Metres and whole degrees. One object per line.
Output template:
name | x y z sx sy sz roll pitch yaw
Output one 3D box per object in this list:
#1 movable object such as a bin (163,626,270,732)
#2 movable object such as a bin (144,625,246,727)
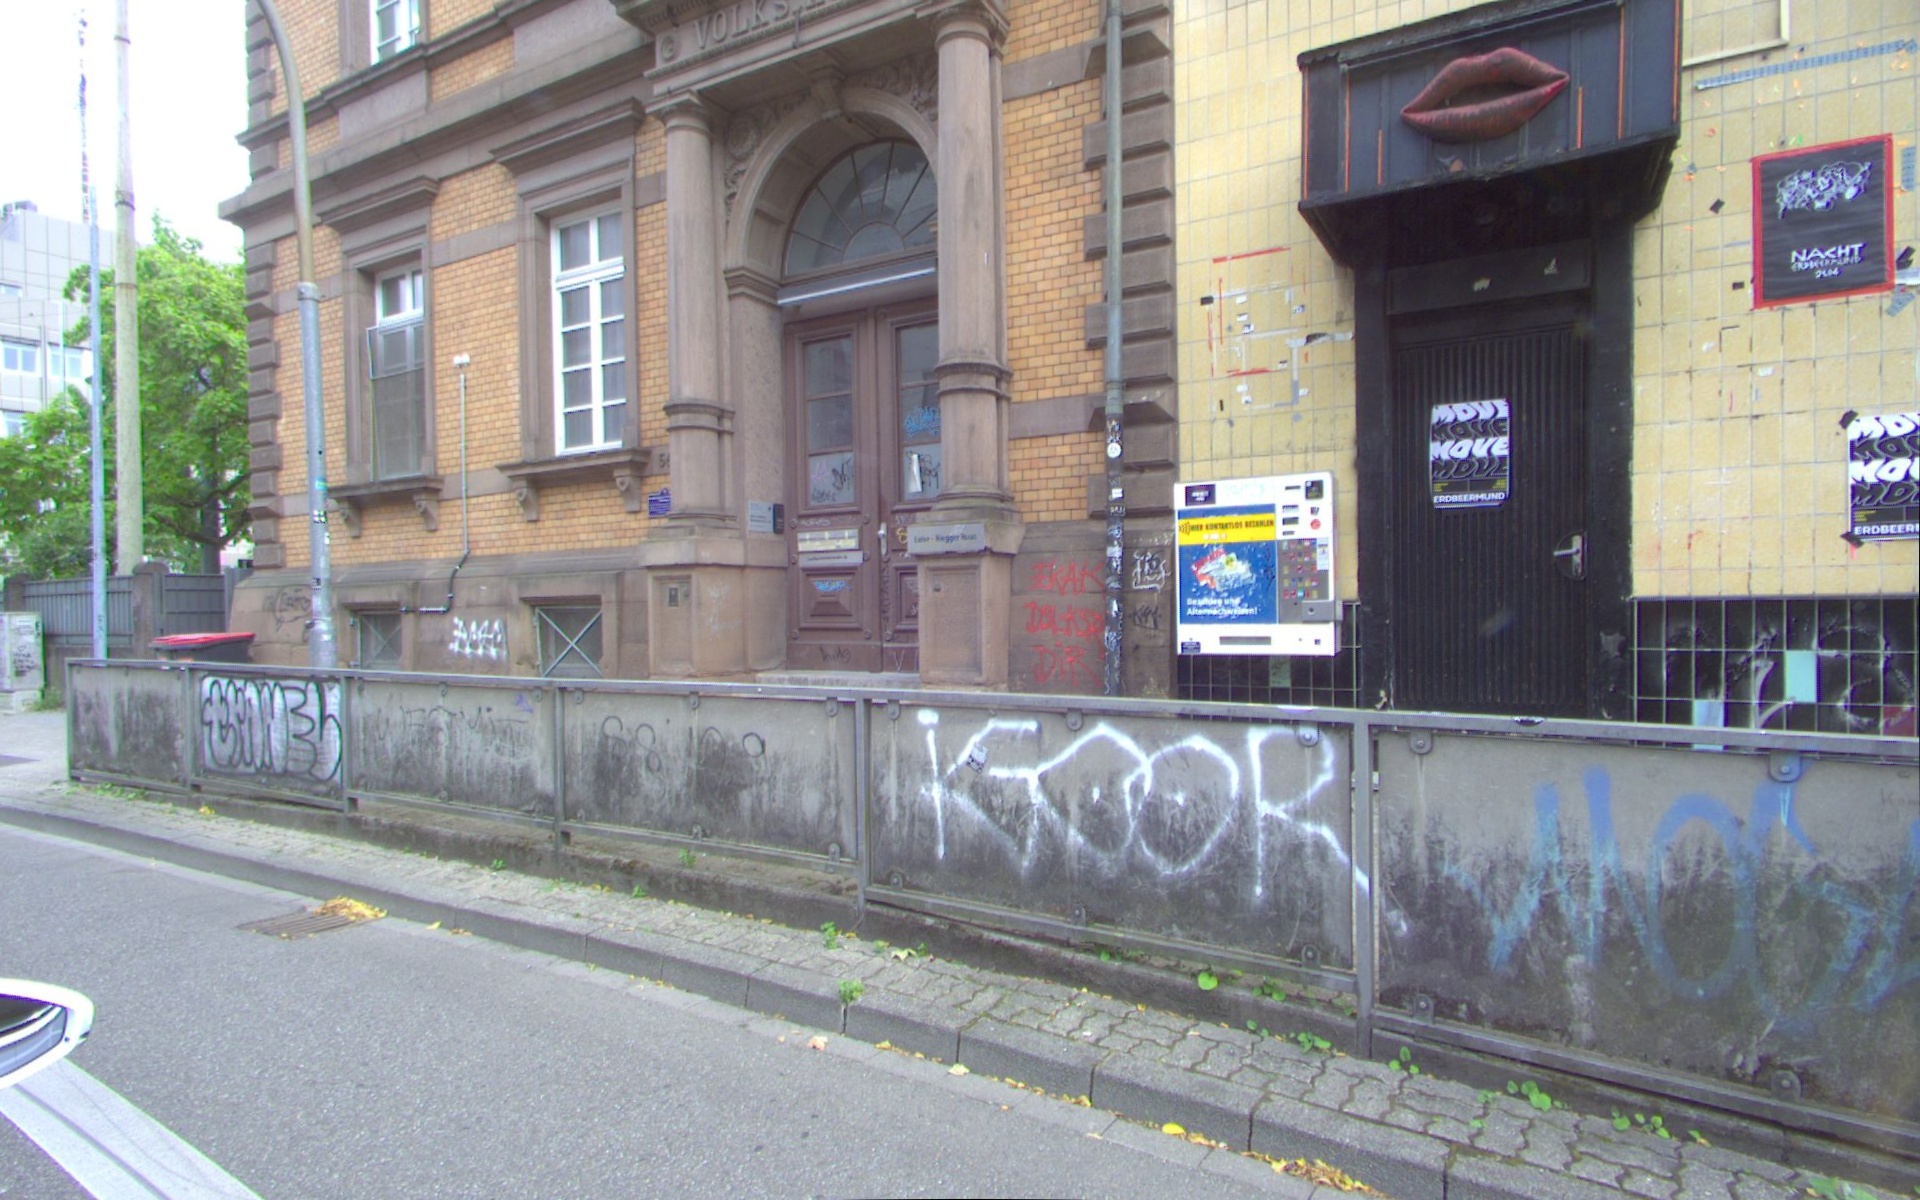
movable object such as a bin | -8.331 0.863 11.231 0.690 1.097 0.662 -1 4 27
movable object such as a bin | -8.895 0.871 11.660 0.667 1.097 0.650 -1 4 27
